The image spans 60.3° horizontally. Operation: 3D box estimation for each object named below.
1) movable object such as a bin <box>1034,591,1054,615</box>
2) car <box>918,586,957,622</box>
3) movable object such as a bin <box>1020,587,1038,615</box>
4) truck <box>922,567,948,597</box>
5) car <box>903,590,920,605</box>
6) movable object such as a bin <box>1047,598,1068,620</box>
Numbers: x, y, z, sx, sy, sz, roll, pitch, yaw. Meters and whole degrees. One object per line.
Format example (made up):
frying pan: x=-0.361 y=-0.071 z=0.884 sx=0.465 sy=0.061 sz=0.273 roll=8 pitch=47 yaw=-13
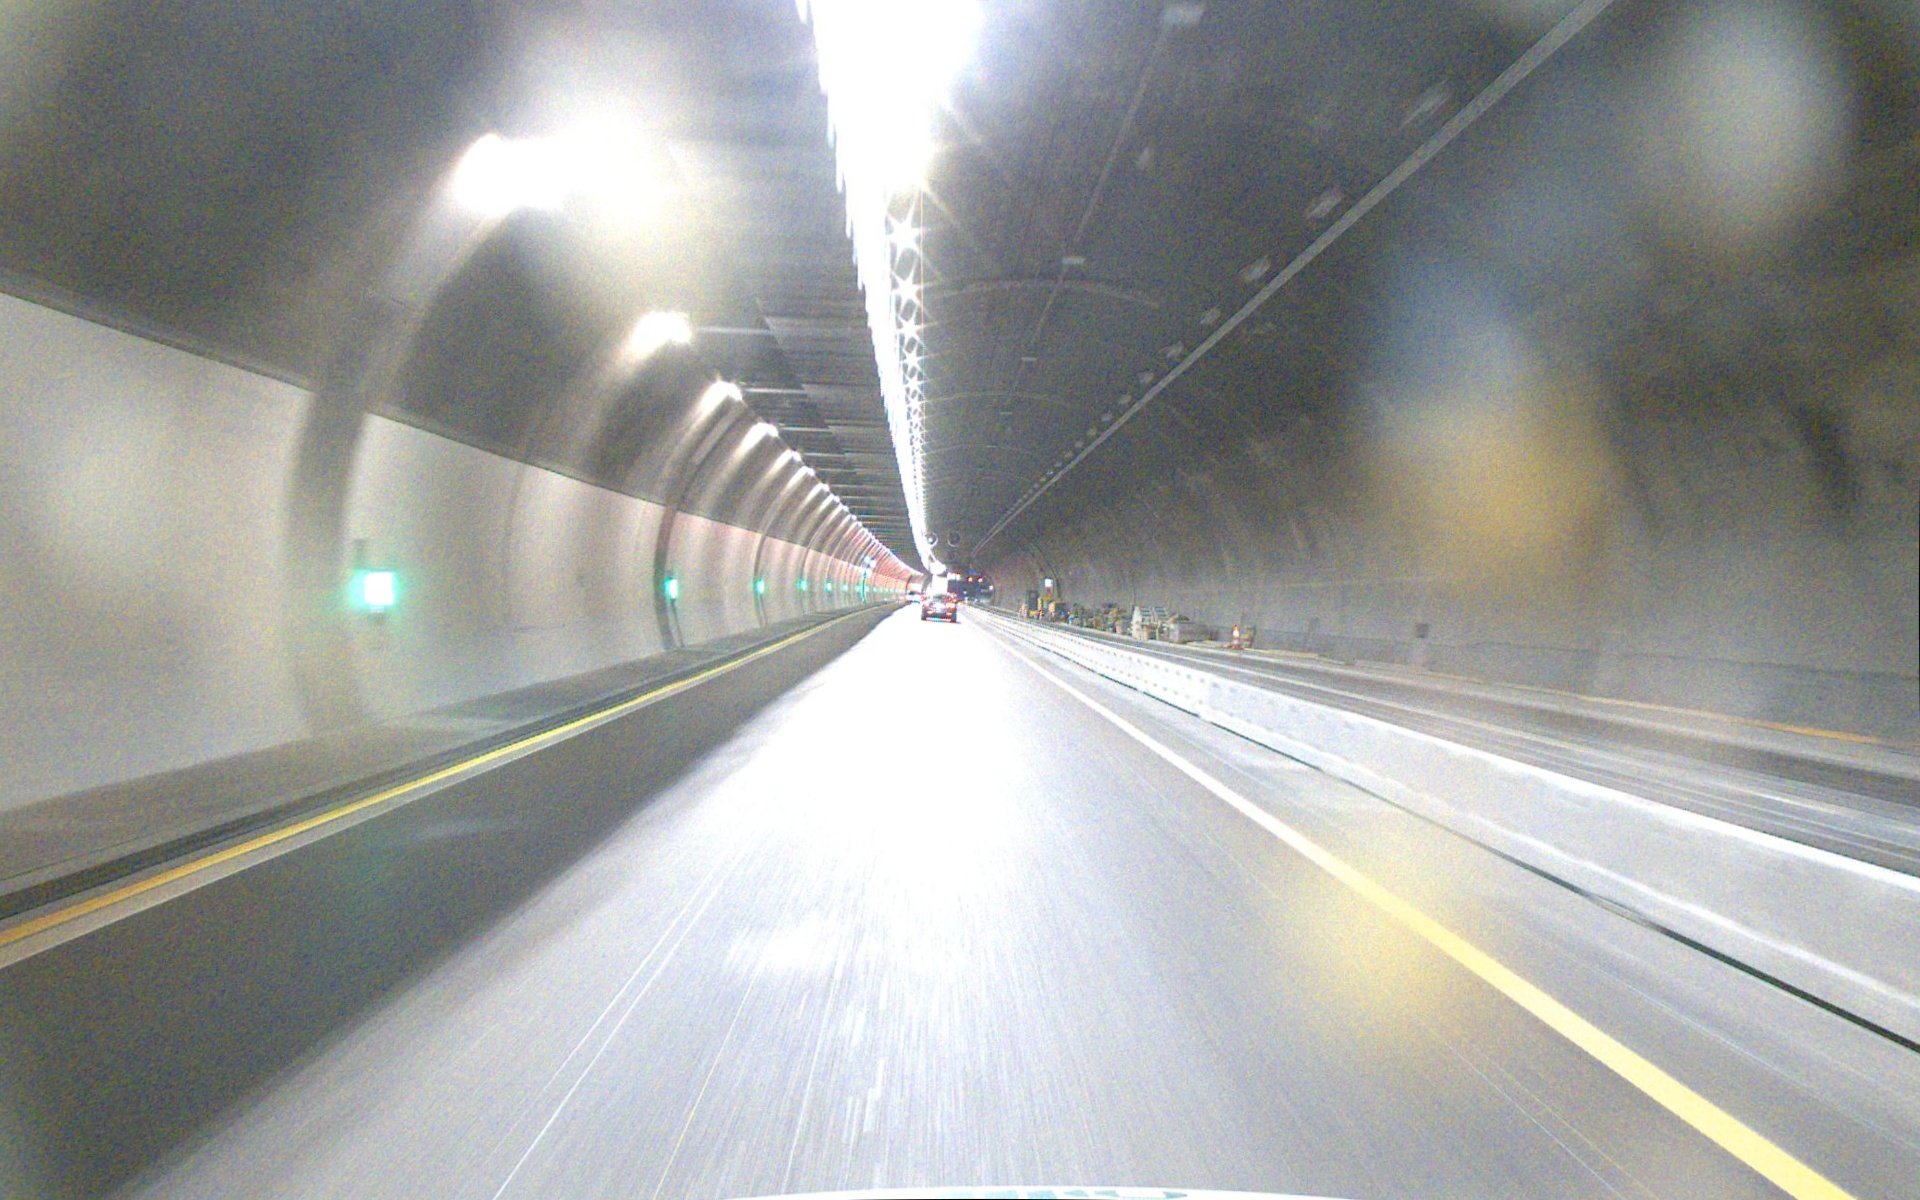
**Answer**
movable object such as a bin: x=6.288 y=0.243 z=124.154 sx=1.210 sy=1.748 sz=2.216 roll=3 pitch=0 yaw=-2
car: x=-1.195 y=0.169 z=86.421 sx=1.908 sy=1.826 sz=3.998 roll=1 pitch=0 yaw=-3
movable object such as a bin: x=5.466 y=0.095 z=131.101 sx=1.210 sy=2.178 sz=2.216 roll=3 pitch=0 yaw=-2
truck: x=-4.029 y=-2.929 z=266.176 sx=3.984 sy=4.612 sz=14.962 roll=1 pitch=0 yaw=-1
car: x=-5.732 y=-0.349 z=196.032 sx=1.891 sy=1.716 sz=3.999 roll=1 pitch=0 yaw=-1
movable object such as a bin: x=6.633 y=0.601 z=112.842 sx=1.210 sy=1.467 sz=2.216 roll=3 pitch=0 yaw=-2
